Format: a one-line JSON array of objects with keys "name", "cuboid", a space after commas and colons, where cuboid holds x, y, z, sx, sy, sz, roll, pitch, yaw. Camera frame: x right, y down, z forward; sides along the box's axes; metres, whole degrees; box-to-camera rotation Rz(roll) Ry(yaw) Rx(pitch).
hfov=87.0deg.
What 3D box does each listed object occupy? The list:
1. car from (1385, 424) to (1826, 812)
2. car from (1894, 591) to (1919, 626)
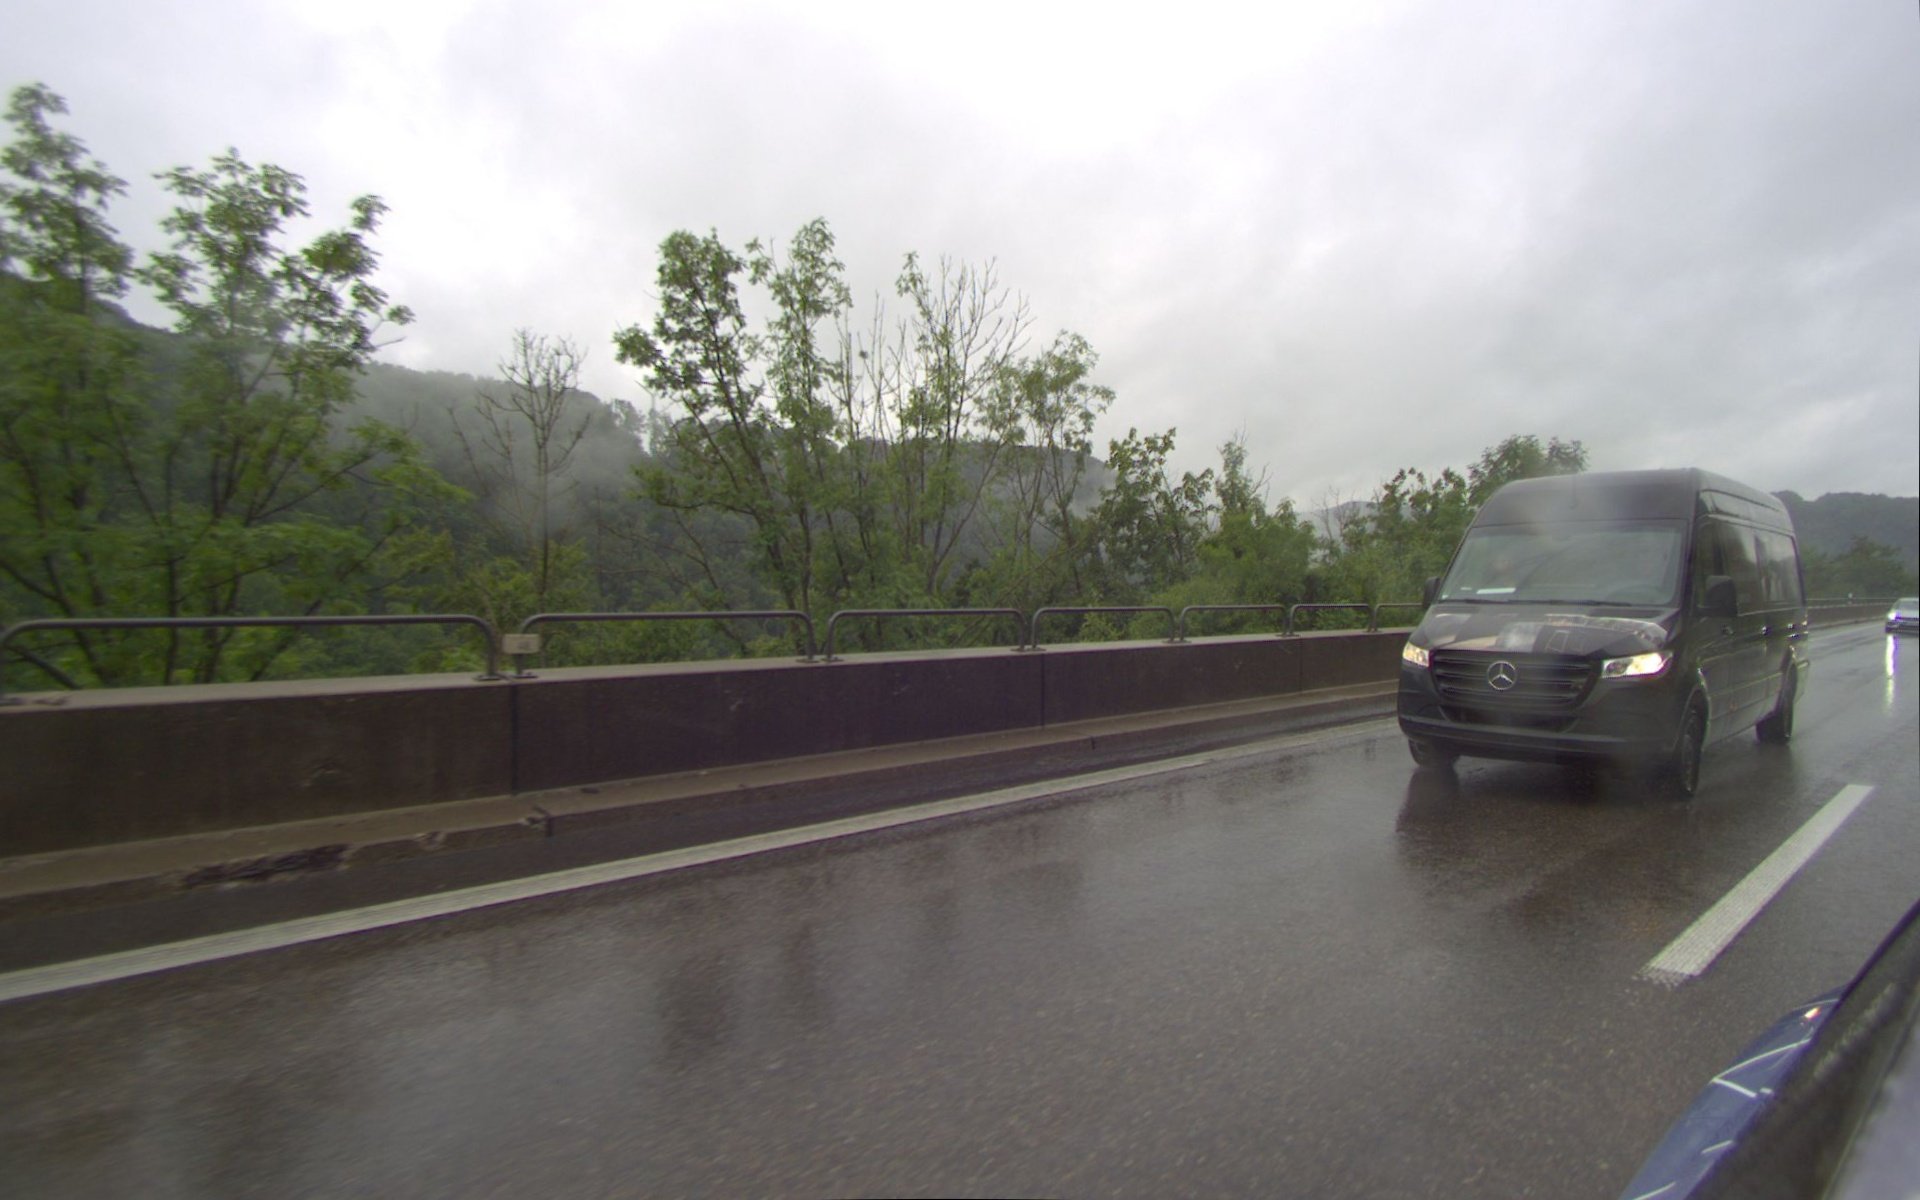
[{"name": "car", "cuboid": [6.454, 0.090, 9.593, 6.593, 2.525, 1.995, 0, 1, -44]}, {"name": "car", "cuboid": [41.219, 0.332, 42.891, 4.486, 1.433, 1.988, 0, 0, -42]}]
